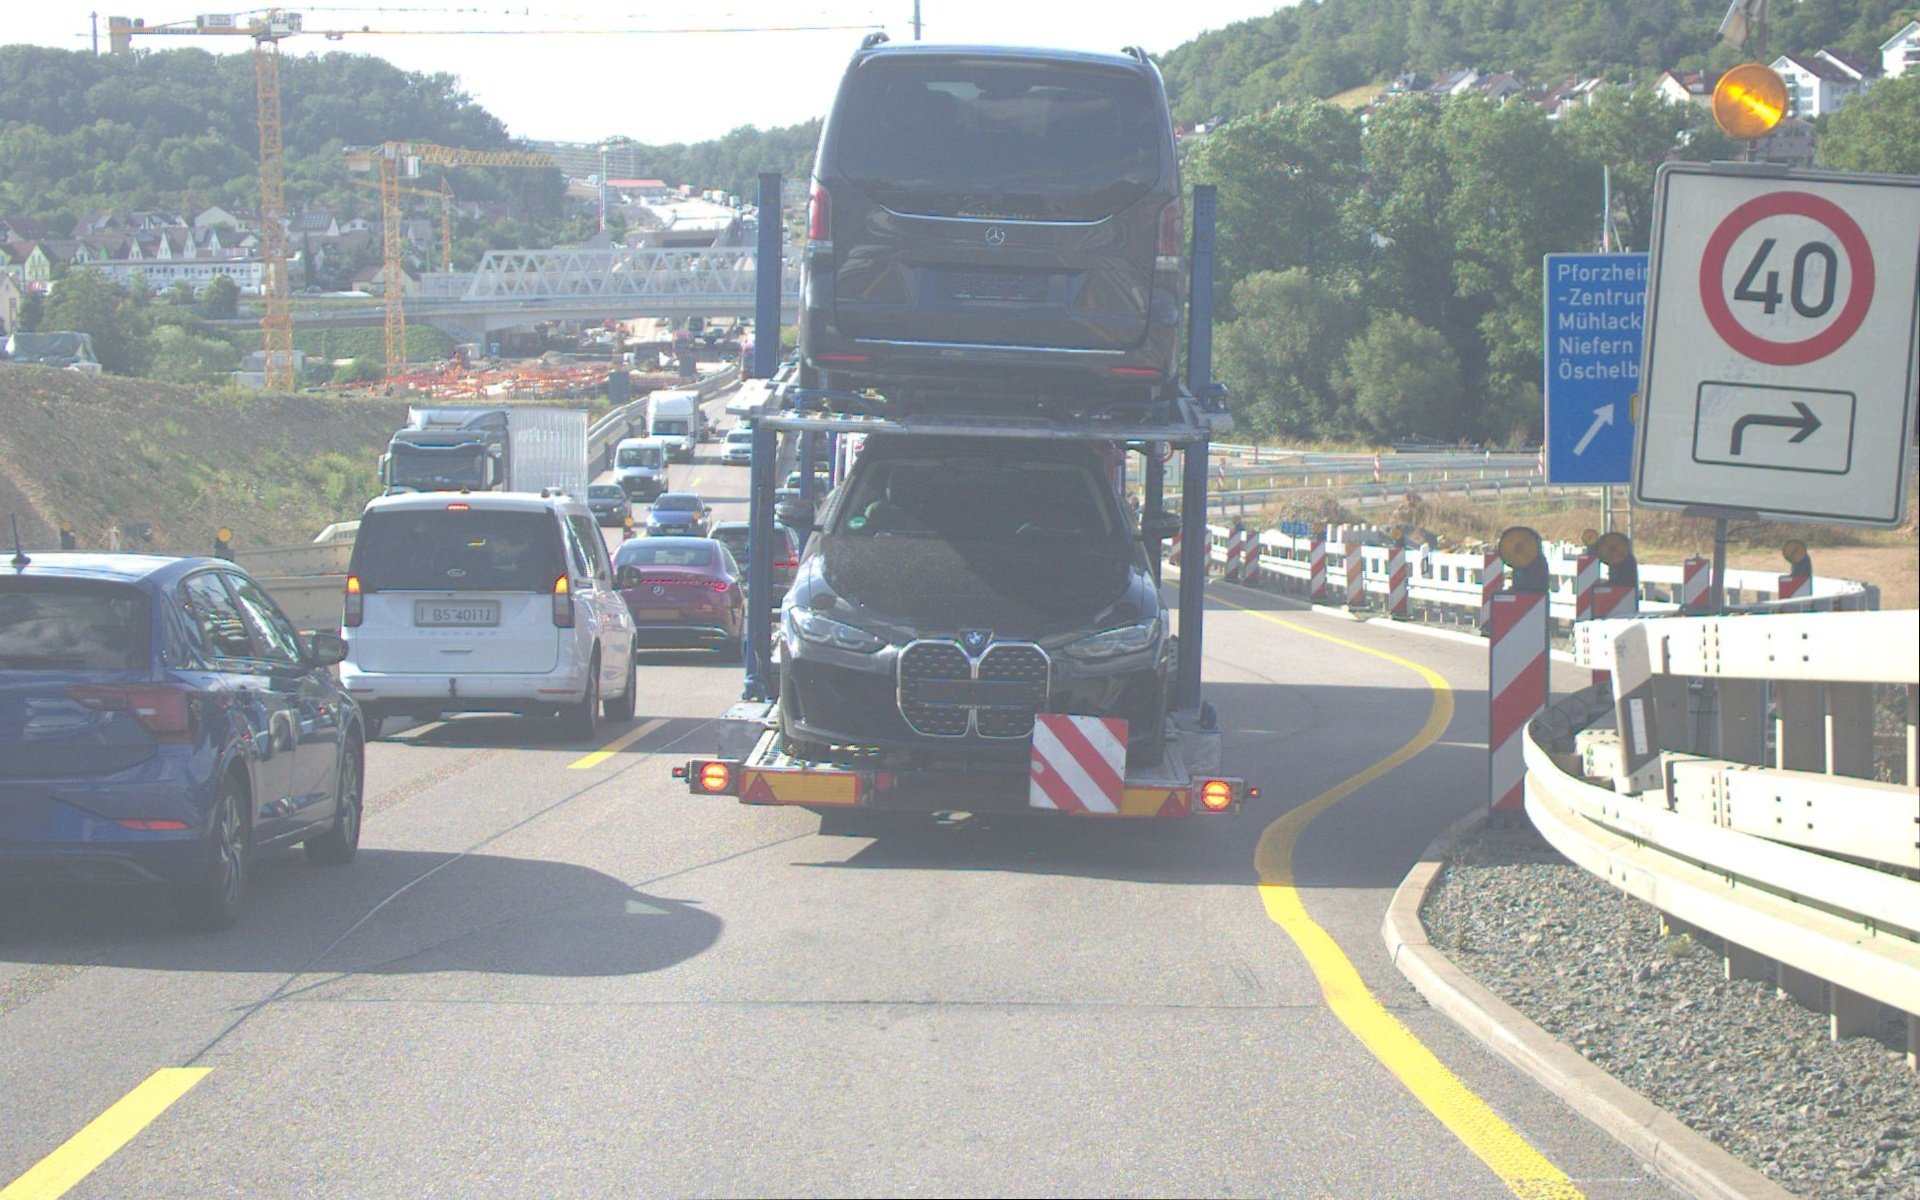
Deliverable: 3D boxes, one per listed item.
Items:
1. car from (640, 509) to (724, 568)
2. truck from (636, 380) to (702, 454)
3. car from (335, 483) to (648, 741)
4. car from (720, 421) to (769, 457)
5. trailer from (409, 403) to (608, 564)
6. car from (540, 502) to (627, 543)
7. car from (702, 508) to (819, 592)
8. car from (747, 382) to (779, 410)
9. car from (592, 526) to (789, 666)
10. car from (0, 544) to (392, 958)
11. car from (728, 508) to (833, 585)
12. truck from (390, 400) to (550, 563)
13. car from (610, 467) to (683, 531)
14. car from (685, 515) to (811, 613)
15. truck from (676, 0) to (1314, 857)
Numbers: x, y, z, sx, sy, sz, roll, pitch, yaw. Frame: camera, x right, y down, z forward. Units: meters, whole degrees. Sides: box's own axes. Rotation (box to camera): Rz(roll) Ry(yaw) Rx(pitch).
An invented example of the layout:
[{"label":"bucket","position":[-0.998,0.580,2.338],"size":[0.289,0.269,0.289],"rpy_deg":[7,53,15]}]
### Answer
[{"label":"car","position":[-8.385,-1.843,104.021],"size":[1.994,1.720,4.122],"rpy_deg":[1,0,3]},{"label":"truck","position":[-14.352,-8.991,170.027],"size":[2.700,3.300,7.538],"rpy_deg":[1,0,-1]},{"label":"car","position":[-3.468,0.069,26.118],"size":[1.823,1.786,4.000],"rpy_deg":[1,0,0]},{"label":"car","position":[-10.503,-7.856,167.839],"size":[2.125,1.668,4.273],"rpy_deg":[0,1,-1]},{"label":"trailer","position":[-11.569,-2.877,89.589],"size":[2.821,3.828,13.803],"rpy_deg":[1,1,2]},{"label":"car","position":[-12.534,-2.569,114.743],"size":[1.920,1.268,3.999],"rpy_deg":[1,1,9]},{"label":"car","position":[-3.790,-0.947,66.001],"size":[1.993,1.547,4.000],"rpy_deg":[1,0,0]},{"label":"car","position":[-12.607,-13.073,220.469],"size":[1.852,1.629,4.750],"rpy_deg":[0,5,-1]},{"label":"car","position":[-3.143,-0.067,40.944],"size":[1.993,1.551,4.401],"rpy_deg":[1,0,0]},{"label":"car","position":[-3.566,0.510,14.267],"size":[1.722,1.417,4.000],"rpy_deg":[0,2,0]},{"label":"car","position":[-3.789,-1.123,73.055],"size":[1.993,1.547,4.000],"rpy_deg":[1,0,0]},{"label":"truck","position":[-11.803,-2.802,83.302],"size":[2.777,3.775,6.018],"rpy_deg":[1,0,2]},{"label":"car","position":[-12.515,-4.016,137.690],"size":[2.258,2.394,5.867],"rpy_deg":[1,0,1]},{"label":"car","position":[-3.466,-0.593,56.863],"size":[1.993,1.547,4.000],"rpy_deg":[1,0,-2]},{"label":"truck","position":[0.130,-0.939,24.880],"size":[2.753,3.941,18.890],"rpy_deg":[2,0,0]}]
